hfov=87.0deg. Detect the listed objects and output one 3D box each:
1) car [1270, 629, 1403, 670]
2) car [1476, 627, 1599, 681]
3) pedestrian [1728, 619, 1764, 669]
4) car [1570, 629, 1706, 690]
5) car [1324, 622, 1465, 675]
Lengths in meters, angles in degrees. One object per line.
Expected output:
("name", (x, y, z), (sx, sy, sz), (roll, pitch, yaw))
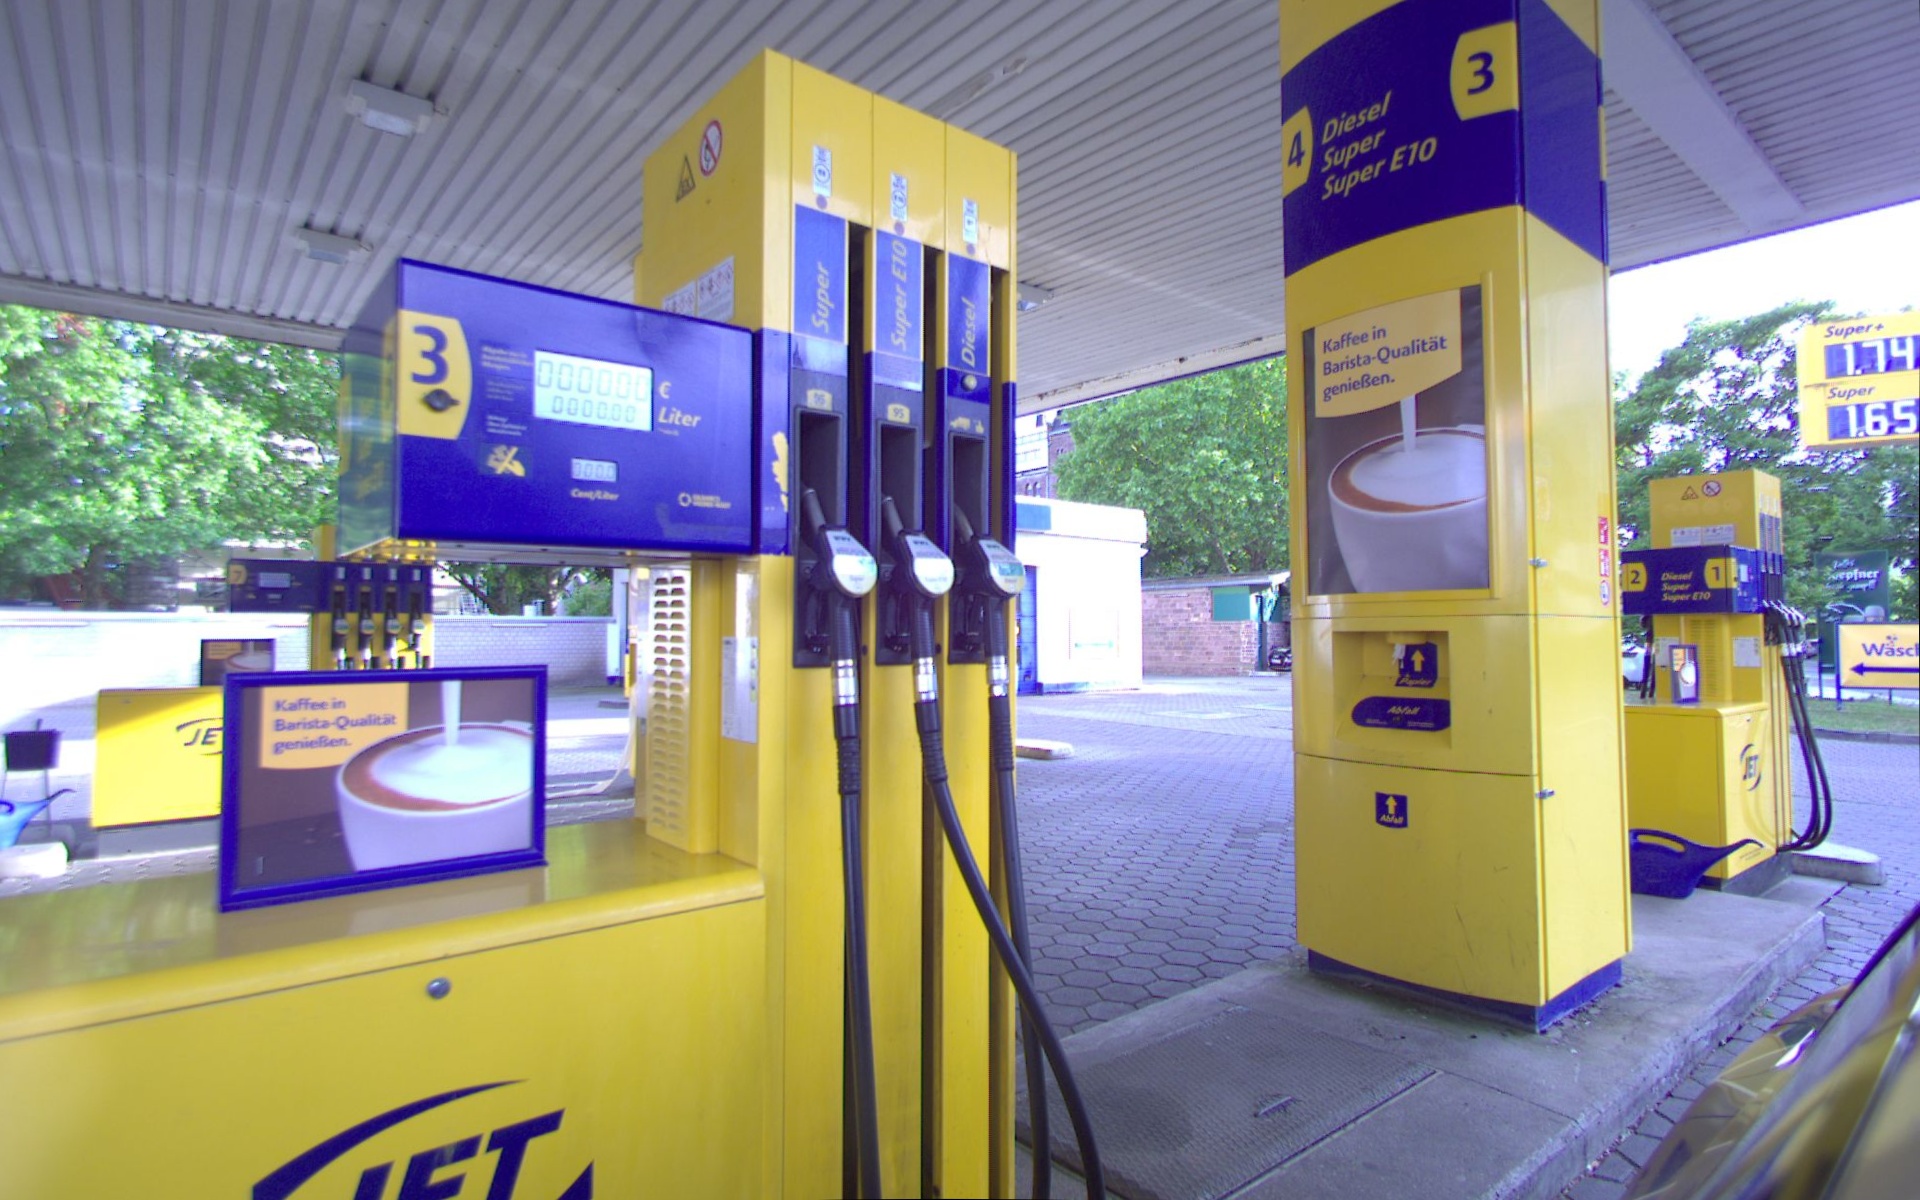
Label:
("car", (12.826, 1.702, 34.489), (4.134, 1.294, 1.751), (2, -3, -22))
("car", (17.553, 1.644, 30.741), (3.923, 1.529, 1.740), (3, -3, -35))
("pedestrian", (32.390, 1.801, 41.731), (0.924, 2.040, 1.205), (0, -2, 26))
("car", (18.218, 1.565, 27.154), (3.923, 1.529, 1.740), (2, -3, -35))
("car", (13.786, 1.551, 32.140), (4.134, 1.544, 1.791), (2, -3, -24))
